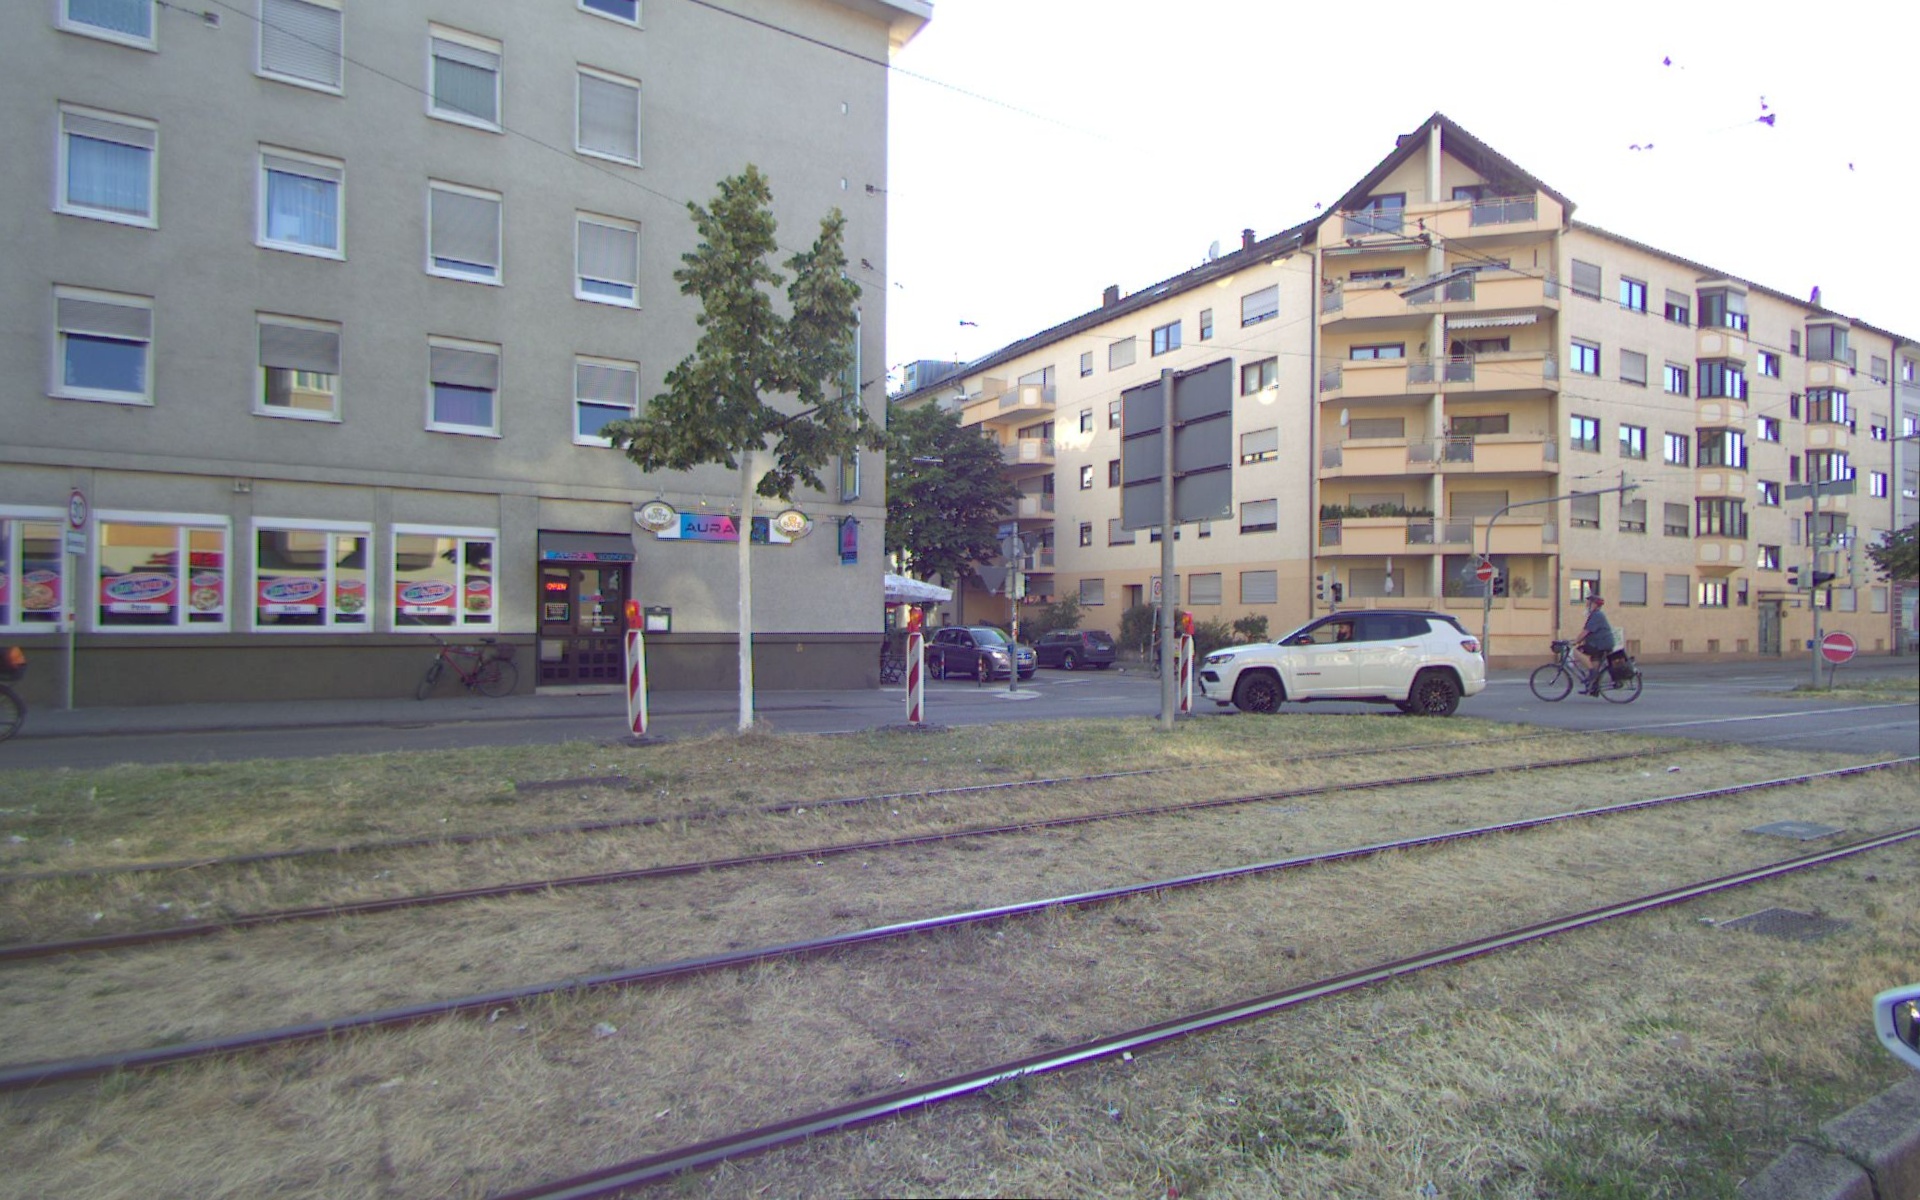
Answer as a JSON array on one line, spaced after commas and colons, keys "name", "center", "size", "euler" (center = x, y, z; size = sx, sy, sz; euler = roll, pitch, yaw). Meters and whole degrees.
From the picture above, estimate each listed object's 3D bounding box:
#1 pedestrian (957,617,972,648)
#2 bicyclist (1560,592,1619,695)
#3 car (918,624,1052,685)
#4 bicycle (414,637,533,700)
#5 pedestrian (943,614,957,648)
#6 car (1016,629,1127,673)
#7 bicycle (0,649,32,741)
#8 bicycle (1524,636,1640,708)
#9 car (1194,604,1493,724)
[{"name": "pedestrian", "center": [0.227, 1.660, 51.278], "size": [0.509, 1.573, 0.547], "euler": [2, 0, -24]}, {"name": "bicyclist", "center": [12.014, 0.810, 19.179], "size": [0.649, 1.907, 0.798], "euler": [-1, 0, -45]}, {"name": "car", "center": [0.712, 1.631, 31.480], "size": [1.982, 1.645, 4.153], "euler": [-3, 1, -38]}, {"name": "bicycle", "center": [-8.580, 1.199, 17.736], "size": [1.823, 1.037, 0.605], "euler": [2, 0, -31]}, {"name": "pedestrian", "center": [-0.495, 1.560, 50.949], "size": [0.456, 1.727, 0.589], "euler": [2, 0, -24]}, {"name": "car", "center": [4.121, 1.850, 37.602], "size": [1.982, 1.462, 3.957], "euler": [-1, 0, -38]}, {"name": "bicycle", "center": [-11.912, 1.105, 11.488], "size": [1.841, 1.058, 0.443], "euler": [1, -1, -34]}, {"name": "bicycle", "center": [11.921, 1.354, 19.288], "size": [1.844, 1.274, 0.454], "euler": [0, 0, 43]}, {"name": "car", "center": [6.066, 0.992, 16.402], "size": [4.305, 1.757, 2.001], "euler": [0, -2, 15]}]
